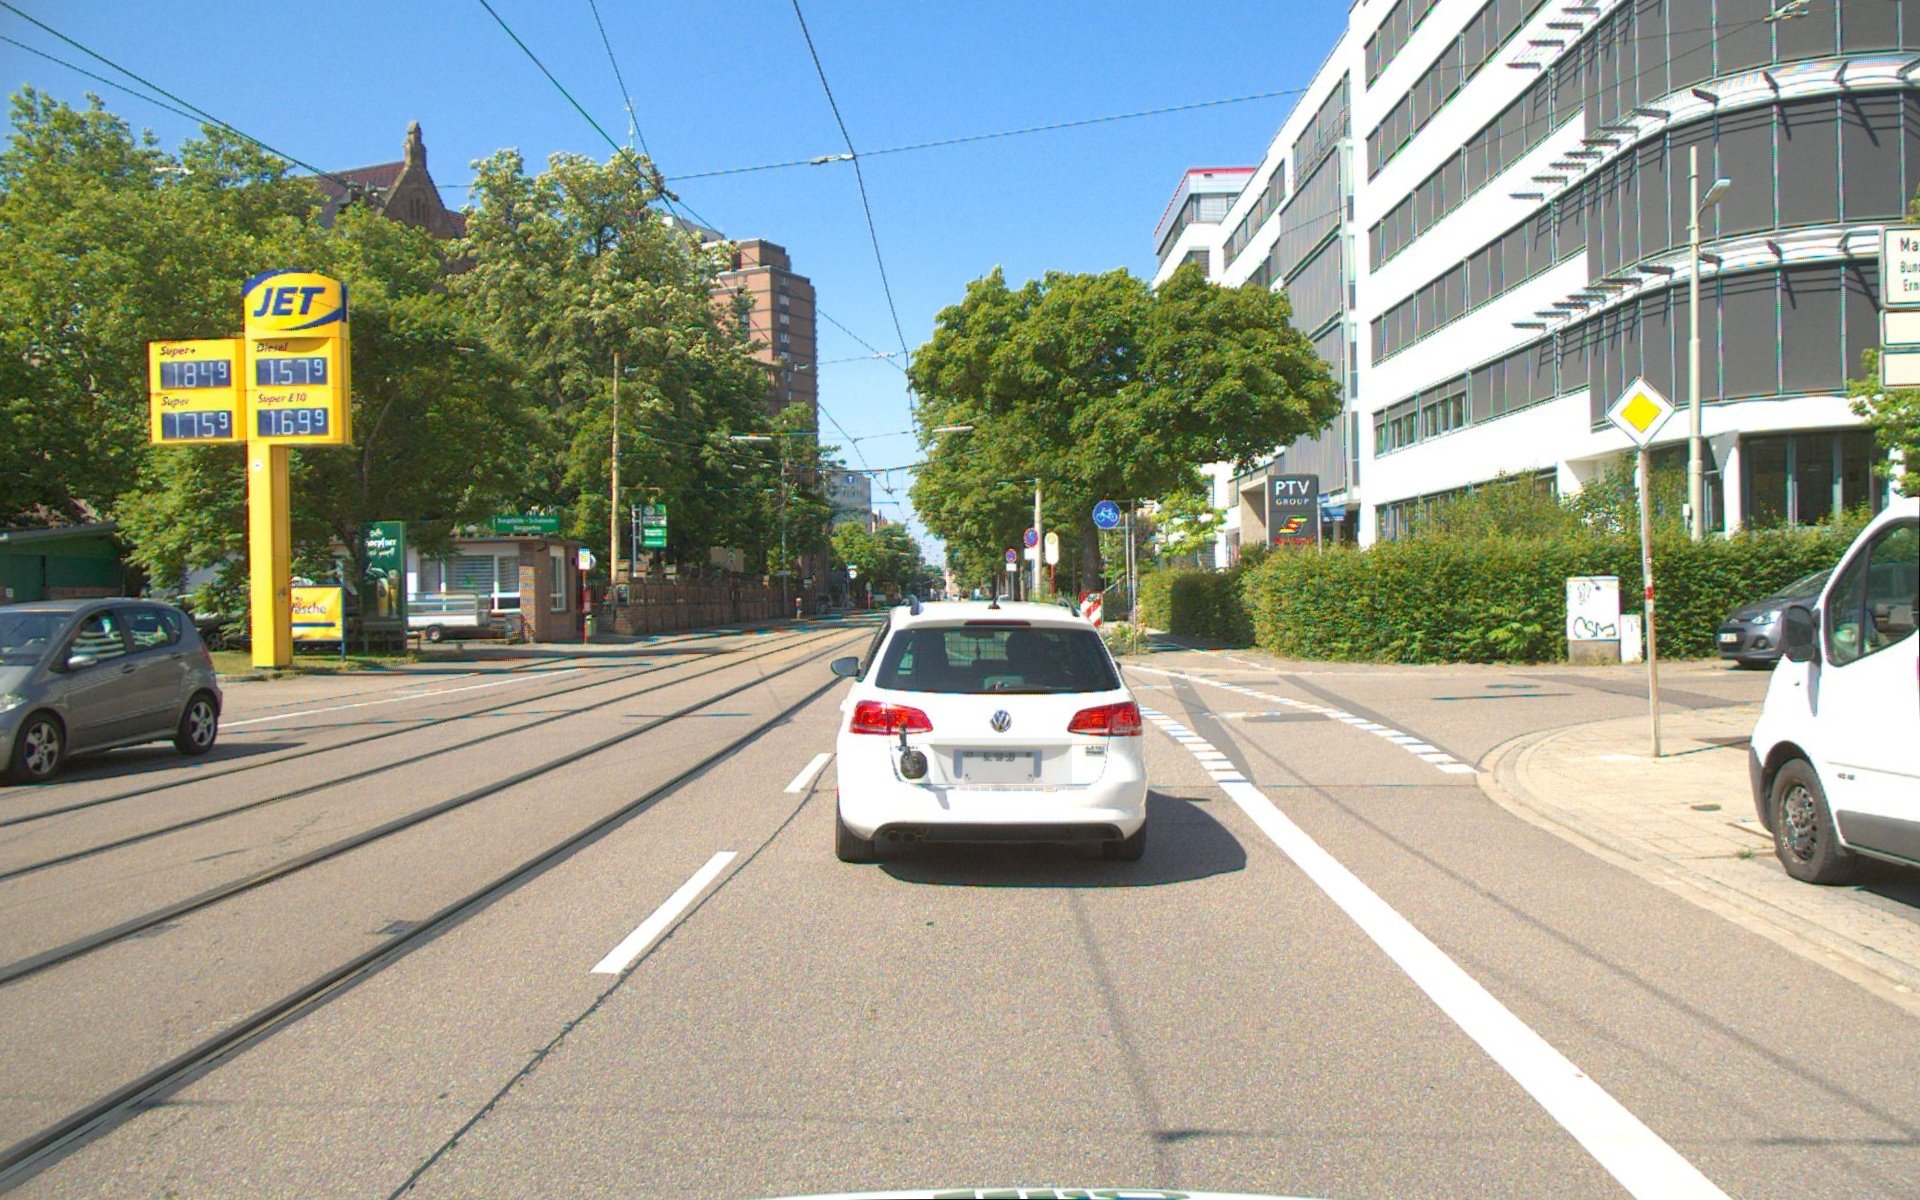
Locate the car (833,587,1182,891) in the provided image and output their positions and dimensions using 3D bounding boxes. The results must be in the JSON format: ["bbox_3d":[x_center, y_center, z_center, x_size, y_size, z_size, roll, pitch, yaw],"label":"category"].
[{"bbox_3d":[0.216,0.675,10.412,1.718,1.467,4.412,0,1,-1],"label":"car"}]

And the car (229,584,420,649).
[{"bbox_3d":[-17.470,0.417,45.591,1.917,1.653,4.547,-1,0,44],"label":"car"}]

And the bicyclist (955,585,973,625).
[{"bbox_3d":[0.170,0.209,71.249,0.769,1.657,0.738,-1,1,0],"label":"bicyclist"}]

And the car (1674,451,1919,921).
[{"bbox_3d":[5.211,0.342,7.180,1.936,2.090,5.191,-3,0,1],"label":"car"}]

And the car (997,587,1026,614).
[{"bbox_3d":[3.018,0.013,97.481,1.558,1.476,3.946,-2,0,1],"label":"car"}]

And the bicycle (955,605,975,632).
[{"bbox_3d":[0.218,0.786,71.040,0.794,1.097,2.012,-1,0,1],"label":"bicycle"}]

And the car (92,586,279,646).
[{"bbox_3d":[-22.426,0.439,47.984,1.917,1.611,4.546,-1,0,45],"label":"car"}]

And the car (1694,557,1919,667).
[{"bbox_3d":[12.840,0.155,24.167,3.519,1.498,1.592,-1,0,1],"label":"car"}]

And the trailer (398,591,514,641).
[{"bbox_3d":[-16.335,0.492,53.701,3.149,1.552,1.778,-1,0,1],"label":"trailer"}]

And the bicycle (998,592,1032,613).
[{"bbox_3d":[3.060,0.131,92.109,1.873,1.102,0.550,1,0,-3],"label":"bicycle"}]

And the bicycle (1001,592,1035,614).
[{"bbox_3d":[3.027,0.164,86.514,1.738,1.101,0.596,-2,0,-3],"label":"bicycle"}]

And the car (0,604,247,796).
[{"bbox_3d":[-8.677,0.875,15.860,1.709,1.598,3.894,-2,0,5],"label":"car"}]

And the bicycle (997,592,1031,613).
[{"bbox_3d":[3.041,0.135,92.722,1.873,1.102,0.550,1,0,-3],"label":"bicycle"}]
